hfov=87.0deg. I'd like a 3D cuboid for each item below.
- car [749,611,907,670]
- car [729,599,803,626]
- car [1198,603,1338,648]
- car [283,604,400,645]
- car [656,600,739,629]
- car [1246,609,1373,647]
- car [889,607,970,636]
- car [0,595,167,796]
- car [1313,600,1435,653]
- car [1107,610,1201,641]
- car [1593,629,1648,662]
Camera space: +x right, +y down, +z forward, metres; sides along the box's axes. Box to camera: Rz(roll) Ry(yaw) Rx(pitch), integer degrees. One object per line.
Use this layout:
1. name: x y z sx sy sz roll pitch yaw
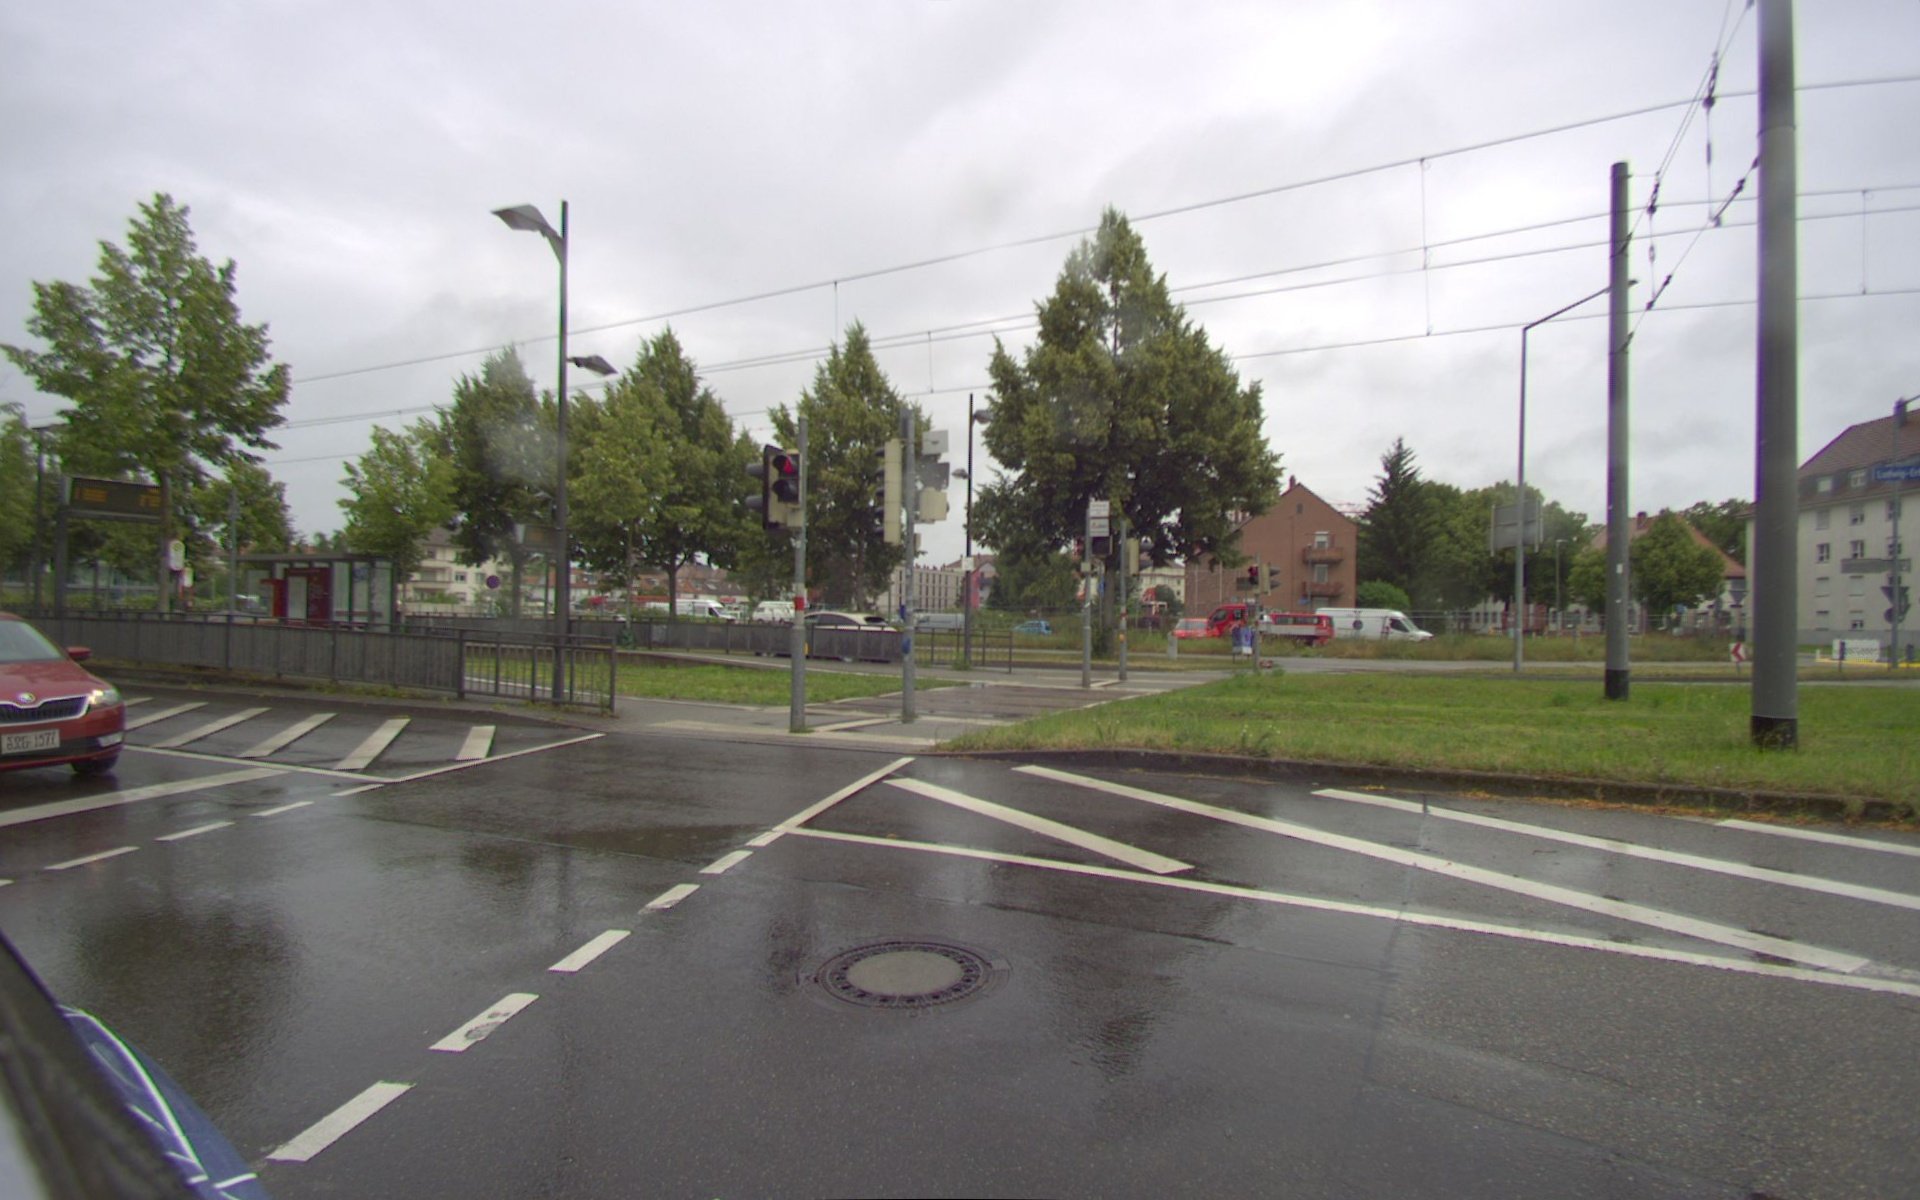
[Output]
1. car: -3.793 1.096 28.977 4.203 1.497 1.836 0 1 26
2. car: -18.607 1.189 96.994 6.796 2.495 2.481 0 1 25
3. car: 15.534 1.235 51.320 6.421 2.029 2.326 1 1 39
4. car: -24.412 0.933 39.941 4.603 1.497 1.814 0 1 27
5. car: -23.971 1.303 92.272 7.594 2.495 2.337 0 1 25
6. car: 19.588 1.540 56.929 6.421 2.029 2.326 -1 -1 39
7. car: -2.717 1.904 89.478 6.772 2.495 2.345 0 -1 15
8. car: -8.941 0.710 8.712 4.295 1.470 1.772 0 1 28
9. car: 24.949 1.515 61.161 6.421 2.961 2.326 1 1 39
10. car: 13.602 1.767 70.845 6.363 2.029 2.347 0 1 13
11. car: 54.334 3.715 83.341 1.977 2.344 4.828 0 1 9
